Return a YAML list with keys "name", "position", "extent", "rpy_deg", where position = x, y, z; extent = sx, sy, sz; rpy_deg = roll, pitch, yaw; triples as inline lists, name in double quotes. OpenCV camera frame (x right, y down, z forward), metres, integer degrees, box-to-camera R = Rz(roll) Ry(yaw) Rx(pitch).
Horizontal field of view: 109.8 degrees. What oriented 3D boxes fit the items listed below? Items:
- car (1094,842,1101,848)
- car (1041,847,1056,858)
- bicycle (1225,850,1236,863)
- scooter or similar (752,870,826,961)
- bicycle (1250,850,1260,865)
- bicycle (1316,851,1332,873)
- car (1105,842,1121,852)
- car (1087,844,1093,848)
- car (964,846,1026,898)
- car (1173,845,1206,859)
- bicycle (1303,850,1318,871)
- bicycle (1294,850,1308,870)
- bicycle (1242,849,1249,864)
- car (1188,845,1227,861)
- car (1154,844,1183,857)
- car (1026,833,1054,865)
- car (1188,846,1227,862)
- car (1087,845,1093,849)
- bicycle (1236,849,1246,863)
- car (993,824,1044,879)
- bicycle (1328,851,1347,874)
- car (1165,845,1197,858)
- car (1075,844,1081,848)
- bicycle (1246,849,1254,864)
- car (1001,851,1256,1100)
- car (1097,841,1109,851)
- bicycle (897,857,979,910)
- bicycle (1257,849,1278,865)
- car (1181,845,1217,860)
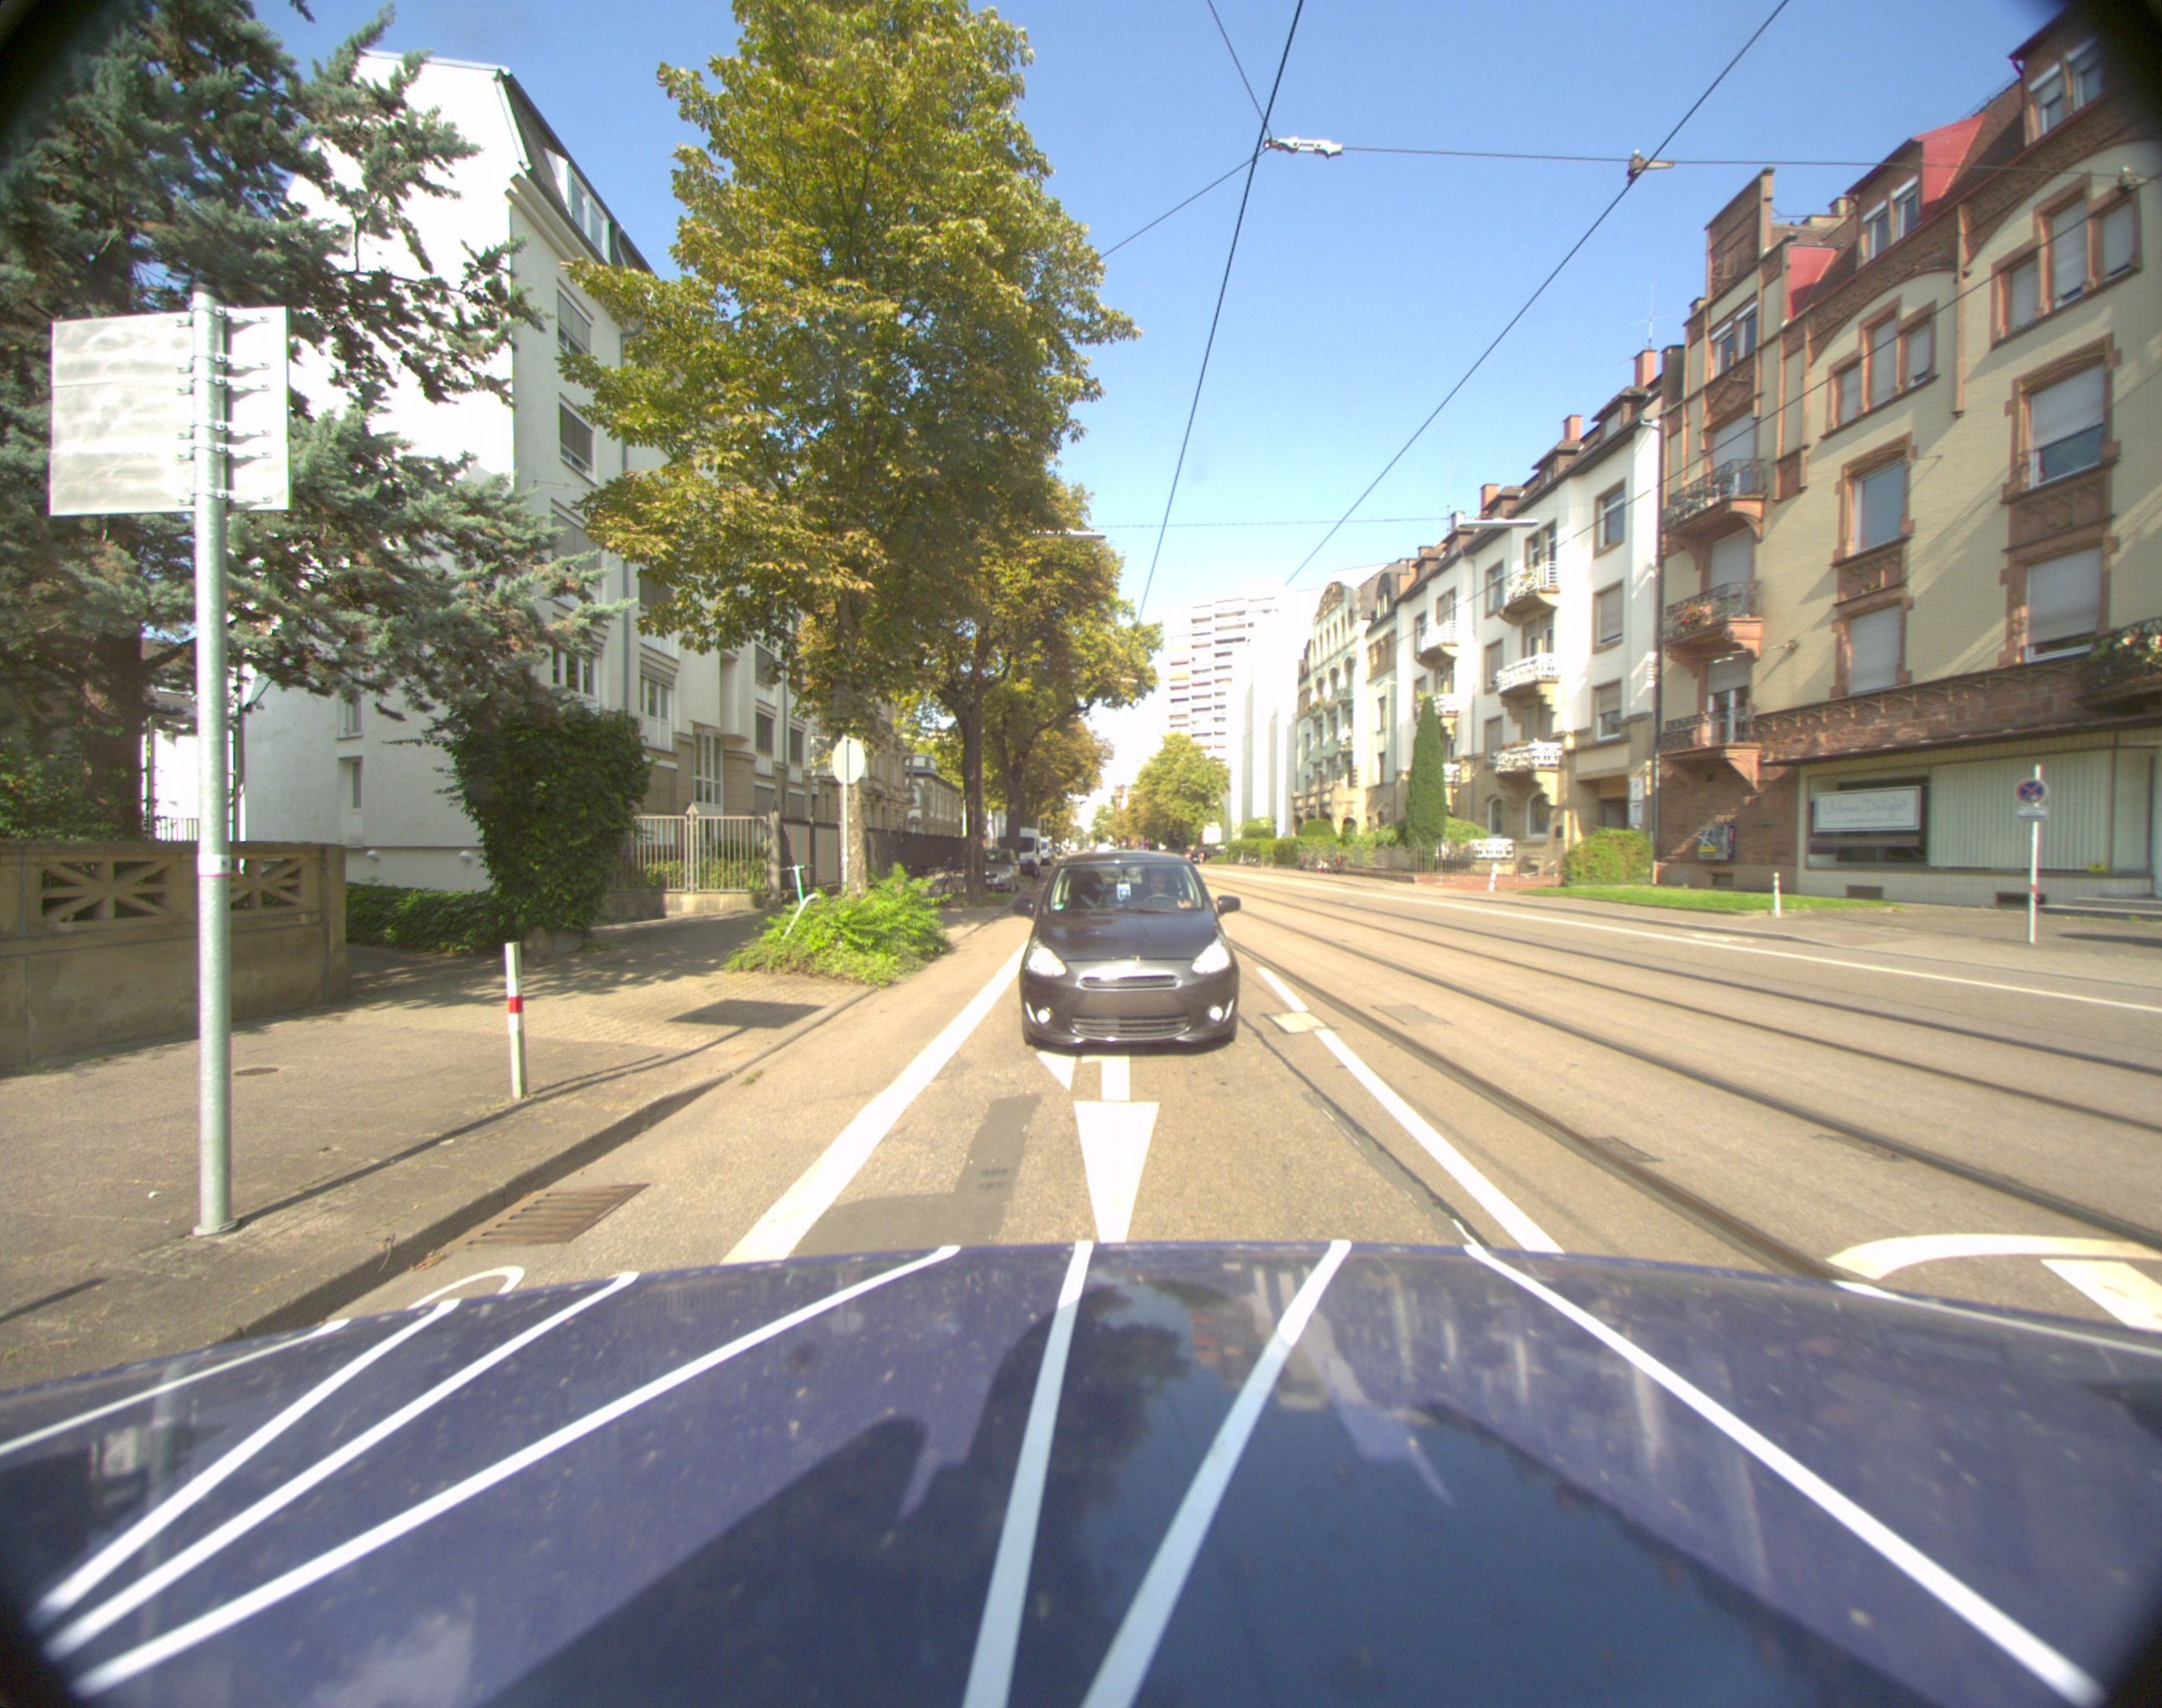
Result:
- name: "car"
  position: [4.374, -2.373, 202.861]
  extent: [1.701, 1.395, 4.644]
  rpy_deg: [-1, 1, -2]
- name: "car"
  position: [-3.944, -0.222, 93.006]
  extent: [1.757, 1.349, 3.787]
  rpy_deg: [0, 1, -2]
- name: "bicycle"
  position: [12.218, 0.191, 62.093]
  extent: [0.425, 0.972, 1.769]
  rpy_deg: [0, 1, -2]
- name: "scooter or similar"
  position: [-4.234, 0.869, 11.069]
  extent: [0.559, 1.190, 1.034]
  rpy_deg: [3, 2, 5]
- name: "bicycle"
  position: [12.331, 0.237, 53.845]
  extent: [0.425, 1.081, 1.676]
  rpy_deg: [0, 1, 3]
- name: "bicycle"
  position: [12.551, 0.393, 39.307]
  extent: [0.371, 1.081, 1.354]
  rpy_deg: [0, 1, -1]
- name: "car"
  position: [4.983, -1.089, 118.108]
  extent: [1.877, 1.446, 4.542]
  rpy_deg: [3, 1, -4]
- name: "car"
  position: [2.908, -2.522, 245.189]
  extent: [1.757, 1.349, 3.787]
  rpy_deg: [0, 1, 0]
- name: "car"
  position: [-2.859, 0.534, 25.964]
  extent: [1.611, 1.515, 4.356]
  rpy_deg: [3, 1, -1]
- name: "car"
  position: [12.151, -0.238, 84.958]
  extent: [1.767, 1.518, 4.008]
  rpy_deg: [1, 1, 40]
- name: "bicycle"
  position: [12.682, 0.352, 42.066]
  extent: [0.371, 1.081, 1.354]
  rpy_deg: [0, 1, -1]
- name: "bicycle"
  position: [12.708, 0.337, 43.837]
  extent: [0.371, 1.081, 1.354]
  rpy_deg: [0, 1, -1]
- name: "bicycle"
  position: [12.290, 0.172, 56.750]
  extent: [0.425, 1.081, 1.677]
  rpy_deg: [0, 1, 8]
- name: "car"
  position: [12.450, -0.109, 74.655]
  extent: [4.008, 1.518, 1.767]
  rpy_deg: [-1, 1, -45]
- name: "car"
  position: [11.176, -0.456, 96.645]
  extent: [1.767, 1.518, 4.008]
  rpy_deg: [1, 1, 40]
- name: "car"
  position: [-3.426, -0.445, 64.657]
  extent: [1.999, 2.526, 5.866]
  rpy_deg: [2, 1, 0]
- name: "car"
  position: [11.807, -0.021, 70.860]
  extent: [1.767, 1.518, 4.008]
  rpy_deg: [1, 1, 40]
- name: "car"
  position: [2.962, -2.407, 258.009]
  extent: [1.757, 1.349, 3.787]
  rpy_deg: [0, 1, -2]
- name: "bicycle"
  position: [12.384, 0.142, 58.761]
  extent: [0.425, 1.081, 1.676]
  rpy_deg: [0, 1, 1]
- name: "car"
  position: [-2.989, -0.151, 37.687]
  extent: [2.051, 2.484, 6.227]
  rpy_deg: [1, 1, -1]
- name: "bicycle"
  position: [12.664, 0.425, 37.534]
  extent: [0.371, 1.081, 1.487]
  rpy_deg: [0, 1, -1]
- name: "car"
  position: [11.541, -0.304, 87.802]
  extent: [1.767, 1.518, 4.008]
  rpy_deg: [1, 1, 40]
- name: "car"
  position: [-1.043, -2.702, 258.090]
  extent: [1.999, 1.572, 4.156]
  rpy_deg: [0, 1, -4]
- name: "bicycle"
  position: [12.452, 0.194, 55.943]
  extent: [0.425, 1.081, 1.677]
  rpy_deg: [0, 1, 8]
- name: "car"
  position: [0.284, 0.773, 7.067]
  extent: [1.611, 1.515, 4.356]
  rpy_deg: [-1, 1, -1]
- name: "car"
  position: [4.342, -1.643, 150.104]
  extent: [1.999, 2.002, 4.857]
  rpy_deg: [0, 1, -4]
- name: "bicycle"
  position: [-3.421, 0.708, 18.270]
  extent: [1.846, 1.160, 0.503]
  rpy_deg: [2, 6, -41]
- name: "bicycle"
  position: [12.965, 0.221, 52.848]
  extent: [1.397, 1.081, 0.425]
  rpy_deg: [0, 1, -18]
- name: "car"
  position: [12.063, -0.145, 77.493]
  extent: [1.767, 1.518, 4.008]
  rpy_deg: [1, 1, 40]
